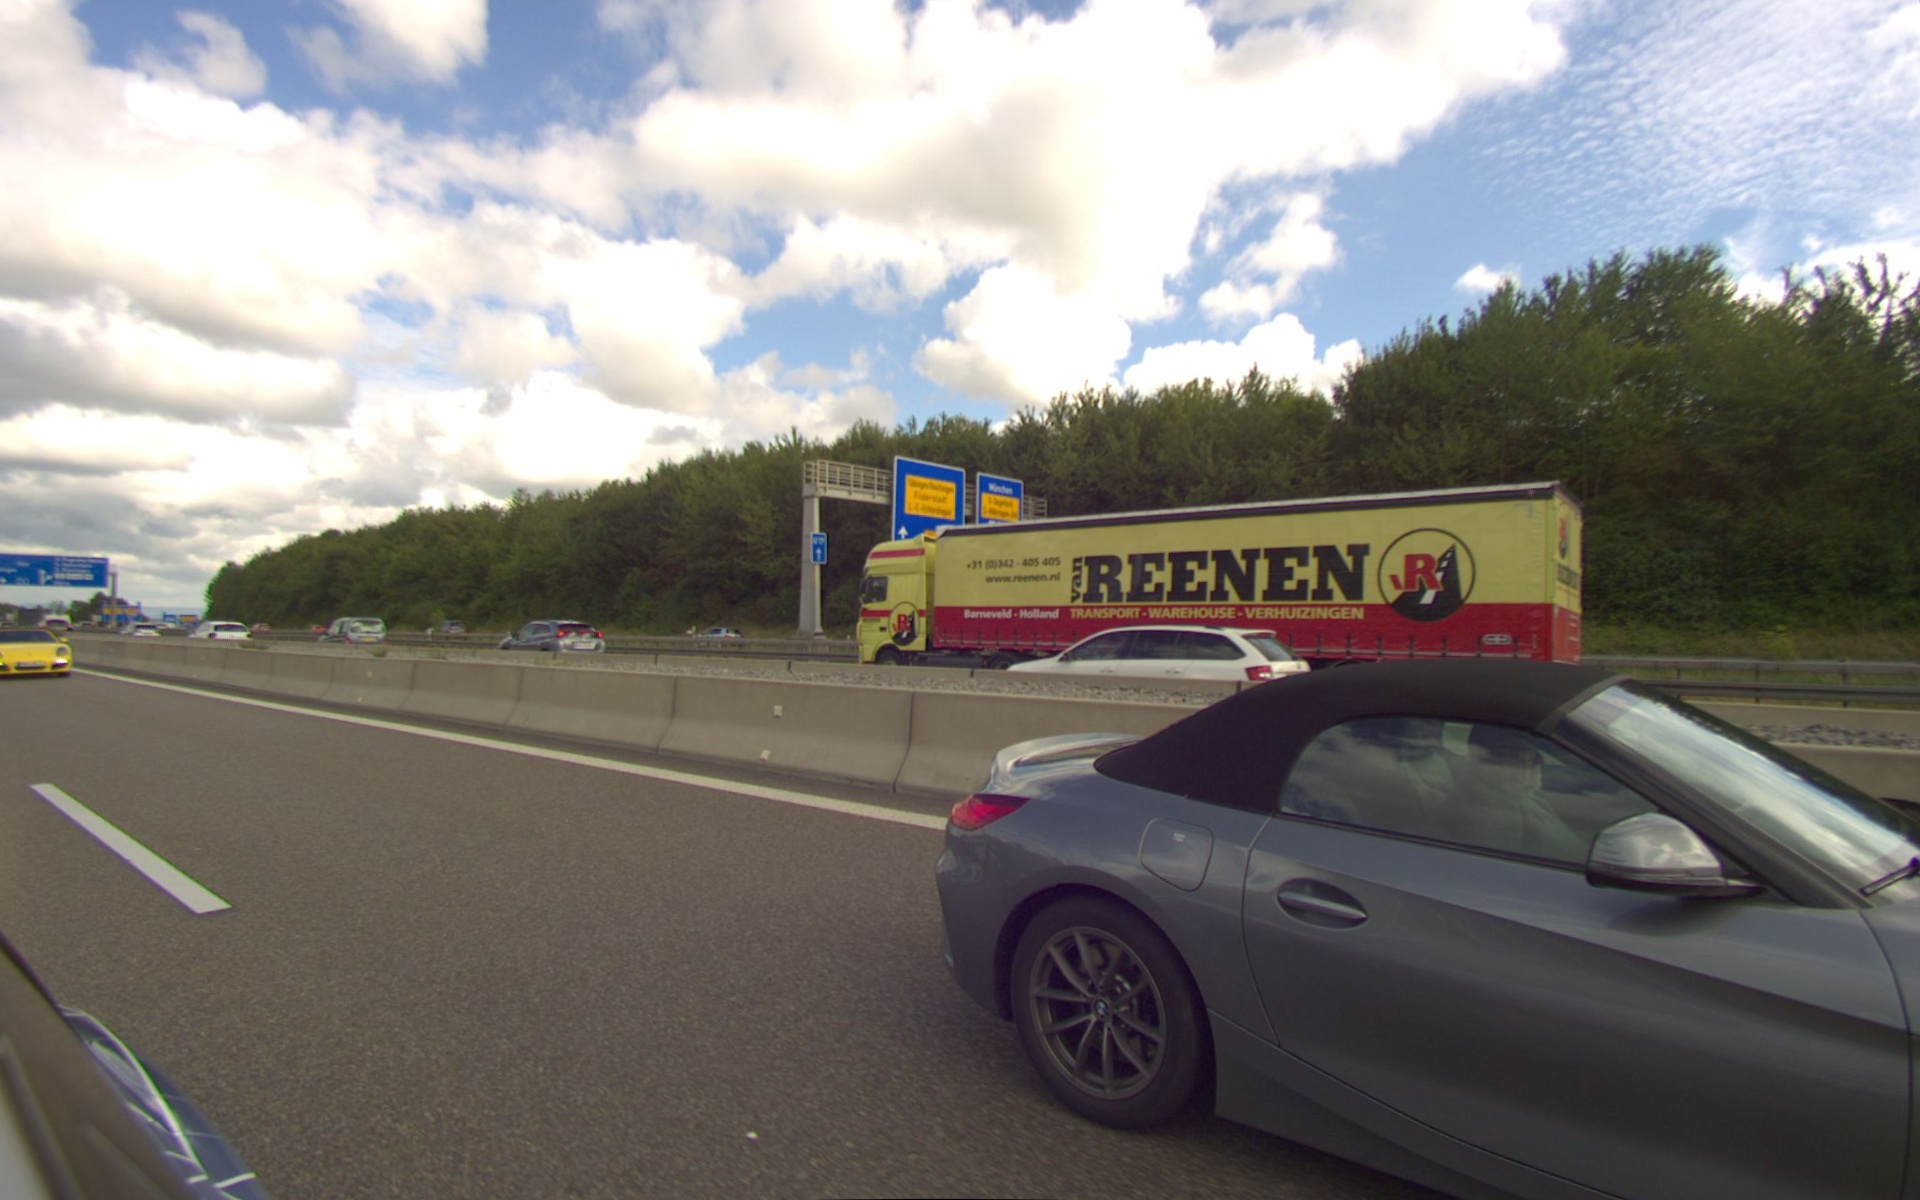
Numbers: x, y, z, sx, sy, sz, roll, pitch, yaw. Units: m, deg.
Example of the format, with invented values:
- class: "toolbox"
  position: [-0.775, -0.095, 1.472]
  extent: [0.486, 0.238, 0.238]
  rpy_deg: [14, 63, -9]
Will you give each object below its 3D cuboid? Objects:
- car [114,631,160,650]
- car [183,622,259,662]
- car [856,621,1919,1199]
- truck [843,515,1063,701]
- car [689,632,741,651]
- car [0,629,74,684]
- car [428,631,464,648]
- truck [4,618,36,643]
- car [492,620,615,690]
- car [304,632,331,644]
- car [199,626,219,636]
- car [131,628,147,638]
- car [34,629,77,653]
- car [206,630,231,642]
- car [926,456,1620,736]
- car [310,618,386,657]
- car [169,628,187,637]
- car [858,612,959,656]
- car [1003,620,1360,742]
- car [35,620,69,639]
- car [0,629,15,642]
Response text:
- class: "car"
  position: [-59.013, 2.884, 72.525]
  extent: [4.672, 1.304, 1.752]
  rpy_deg: [-1, -1, 41]
- class: "car"
  position: [-31.654, 1.775, 43.328]
  extent: [4.178, 1.584, 1.758]
  rpy_deg: [-1, -1, 41]
- class: "car"
  position: [2.115, 0.717, 2.500]
  extent: [4.939, 1.312, 1.854]
  rpy_deg: [-1, -1, 41]
- class: "truck"
  position: [-0.250, 0.258, 26.445]
  extent: [5.159, 4.356, 2.866]
  rpy_deg: [-1, -2, 41]
- class: "car"
  position: [-16.318, 2.777, 67.447]
  extent: [3.758, 1.227, 1.450]
  rpy_deg: [-1, -2, 41]
- class: "car"
  position: [-24.509, 1.422, 26.169]
  extent: [4.245, 1.325, 1.788]
  rpy_deg: [-1, -3, 41]
- class: "car"
  position: [-45.123, 3.418, 88.785]
  extent: [3.758, 1.437, 1.450]
  rpy_deg: [-1, -2, 41]
- class: "truck"
  position: [-128.620, 4.120, 138.473]
  extent: [7.820, 3.288, 2.329]
  rpy_deg: [-1, -2, 41]
- class: "car"
  position: [-12.994, 1.684, 32.216]
  extent: [4.551, 2.029, 1.735]
  rpy_deg: [-1, -1, 41]
- class: "car"
  position: [-77.157, 4.599, 121.480]
  extent: [4.049, 1.375, 1.547]
  rpy_deg: [-1, -2, 40]
- class: "car"
  position: [-116.876, 4.802, 157.496]
  extent: [4.177, 1.506, 1.575]
  rpy_deg: [-1, -2, 40]
- class: "car"
  position: [-156.128, 6.236, 192.351]
  extent: [4.278, 1.771, 1.575]
  rpy_deg: [-1, -2, 40]
- class: "car"
  position: [-66.060, 2.974, 73.896]
  extent: [4.462, 1.623, 1.753]
  rpy_deg: [-1, -1, 41]
- class: "car"
  position: [-89.877, 4.335, 122.699]
  extent: [4.049, 1.375, 1.547]
  rpy_deg: [-1, -2, 40]
- class: "car"
  position: [5.423, 0.098, 21.510]
  extent: [14.137, 4.358, 2.875]
  rpy_deg: [-1, -2, 41]
- class: "car"
  position: [-26.878, 1.627, 44.386]
  extent: [4.461, 1.623, 1.578]
  rpy_deg: [-1, -1, 41]
- class: "car"
  position: [-134.862, 5.556, 174.453]
  extent: [4.505, 1.506, 1.575]
  rpy_deg: [-1, -2, 40]
- class: "car"
  position: [-2.887, 1.841, 55.325]
  extent: [5.889, 2.251, 1.972]
  rpy_deg: [-2, -2, 42]
- class: "car"
  position: [2.867, 0.994, 13.806]
  extent: [4.531, 1.412, 1.649]
  rpy_deg: [-1, -2, 41]
- class: "car"
  position: [-108.289, 3.499, 120.647]
  extent: [6.456, 2.289, 2.142]
  rpy_deg: [-1, -2, 40]
- class: "car"
  position: [-118.776, 4.367, 125.601]
  extent: [4.049, 1.522, 1.719]
  rpy_deg: [-1, -2, 40]
